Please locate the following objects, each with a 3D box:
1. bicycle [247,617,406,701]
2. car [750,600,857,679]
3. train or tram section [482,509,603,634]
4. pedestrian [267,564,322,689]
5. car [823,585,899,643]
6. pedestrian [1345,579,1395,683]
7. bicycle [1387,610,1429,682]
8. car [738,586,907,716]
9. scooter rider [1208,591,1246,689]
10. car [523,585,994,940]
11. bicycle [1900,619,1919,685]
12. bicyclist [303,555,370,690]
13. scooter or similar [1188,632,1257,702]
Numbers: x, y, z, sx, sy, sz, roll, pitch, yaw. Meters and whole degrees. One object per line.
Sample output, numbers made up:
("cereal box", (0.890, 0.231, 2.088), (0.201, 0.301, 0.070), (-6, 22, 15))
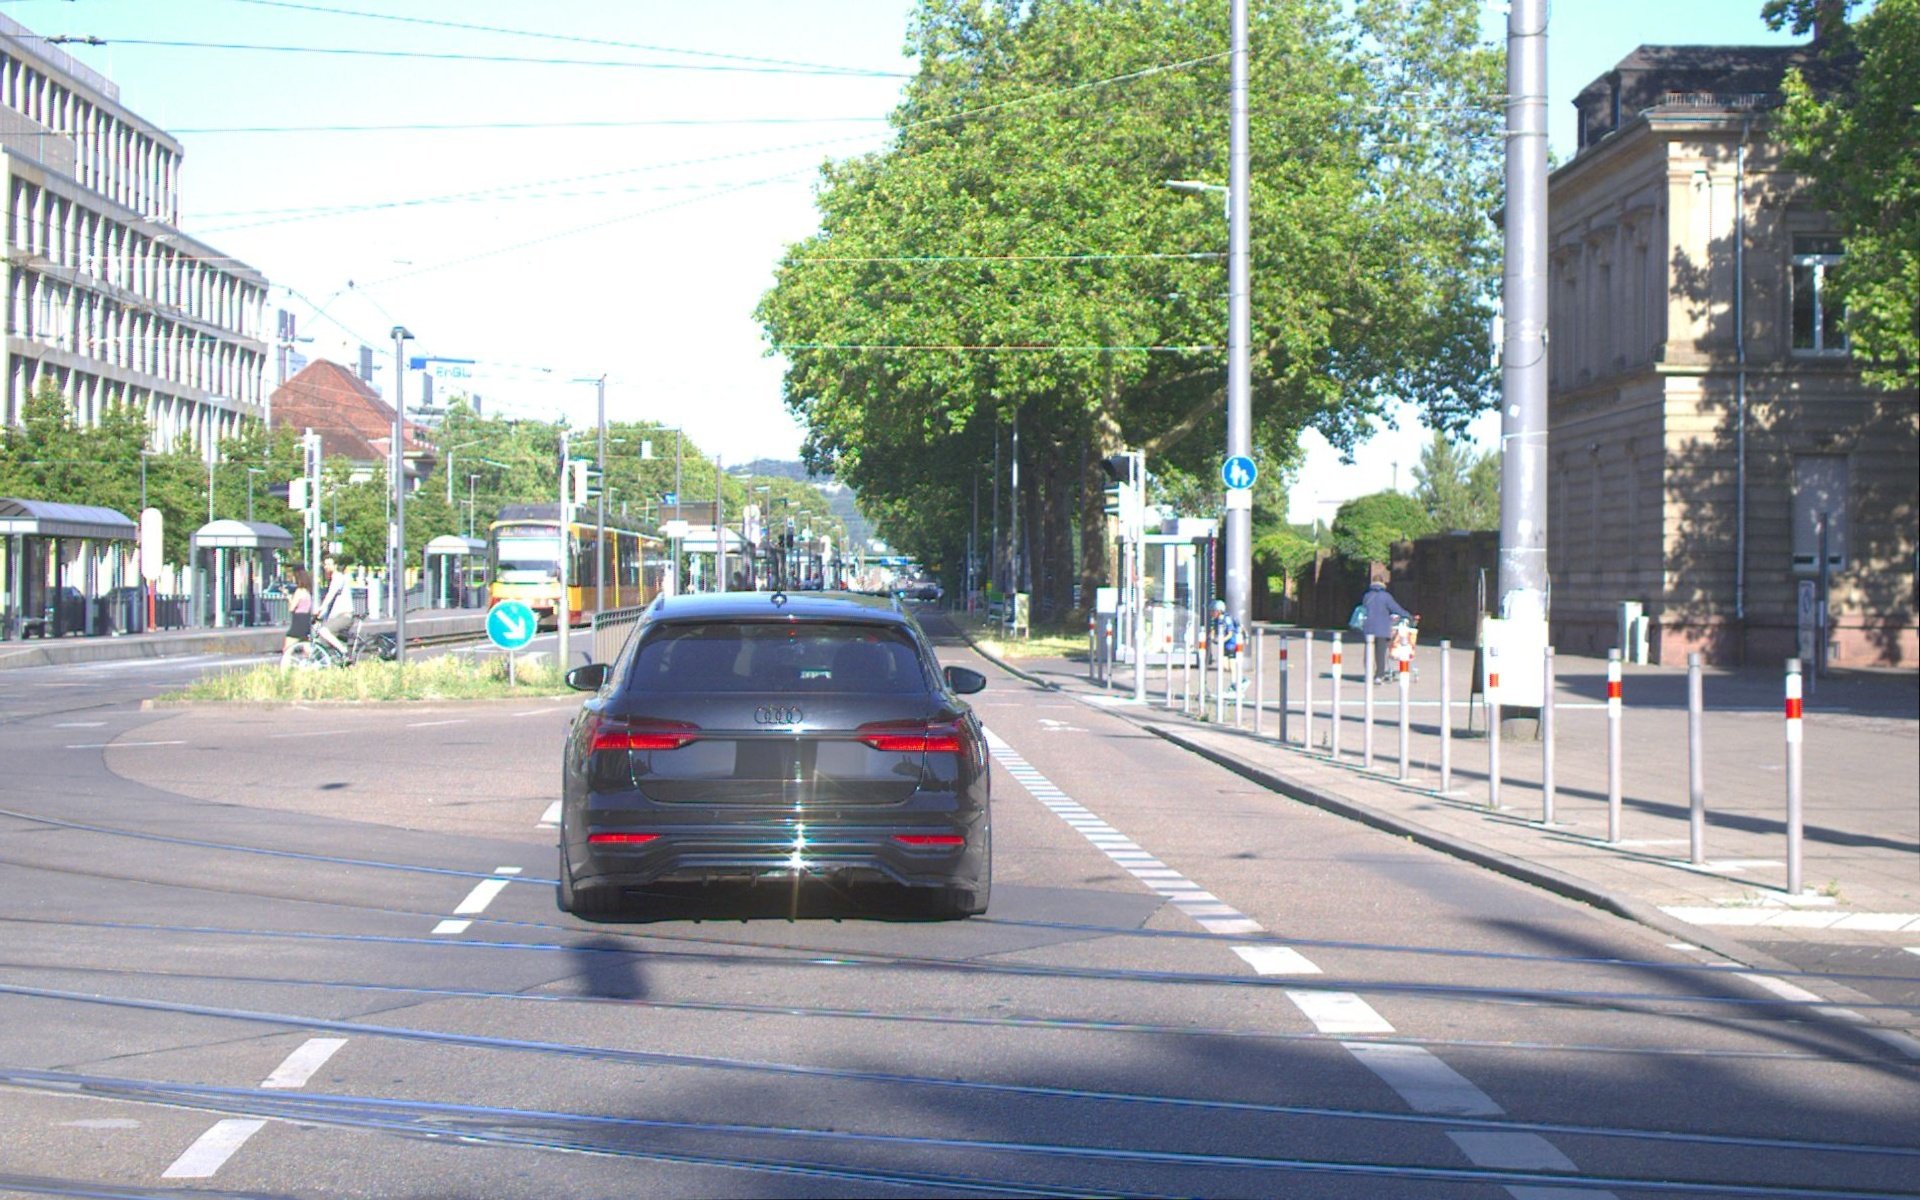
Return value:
("bicycle", (-8.579, 0.792, 46.587), (2.005, 1.104, 0.765), (0, 1, -22))
("car", (-3.038, 0.752, 67.396), (1.902, 1.481, 4.144), (1, 0, 0))
("train or tram section", (-12.046, -0.853, 100.002), (2.608, 3.439, 11.133), (0, 1, -3))
("pedestrian", (-9.370, 0.368, 48.409), (0.739, 1.735, 0.664), (0, 1, -11))
("car", (-2.629, 0.356, 91.947), (1.902, 1.481, 4.144), (1, 0, 0))
("pedestrian", (6.631, 0.497, 55.661), (0.682, 1.655, 0.758), (0, 1, -2))
("bicycle", (7.253, 0.739, 55.692), (0.434, 1.141, 1.340), (0, 1, -3))
("car", (-1.630, 0.593, 42.042), (1.902, 1.481, 4.144), (1, 0, 0))
("scooter rider", (3.782, 0.567, 48.691), (0.484, 1.381, 0.377), (-1, -1, -3))
("car", (-0.836, 0.664, 16.121), (1.902, 1.417, 4.144), (1, 0, 0))
("bicycle", (15.860, 0.855, 55.260), (0.526, 1.043, 2.360), (0, 1, -9))
("bicyclist", (-8.469, 0.302, 46.659), (0.756, 1.812, 0.765), (0, 1, -22))
("scooter or similar", (3.716, 0.946, 48.684), (0.938, 0.963, 0.361), (-1, -1, -3))
